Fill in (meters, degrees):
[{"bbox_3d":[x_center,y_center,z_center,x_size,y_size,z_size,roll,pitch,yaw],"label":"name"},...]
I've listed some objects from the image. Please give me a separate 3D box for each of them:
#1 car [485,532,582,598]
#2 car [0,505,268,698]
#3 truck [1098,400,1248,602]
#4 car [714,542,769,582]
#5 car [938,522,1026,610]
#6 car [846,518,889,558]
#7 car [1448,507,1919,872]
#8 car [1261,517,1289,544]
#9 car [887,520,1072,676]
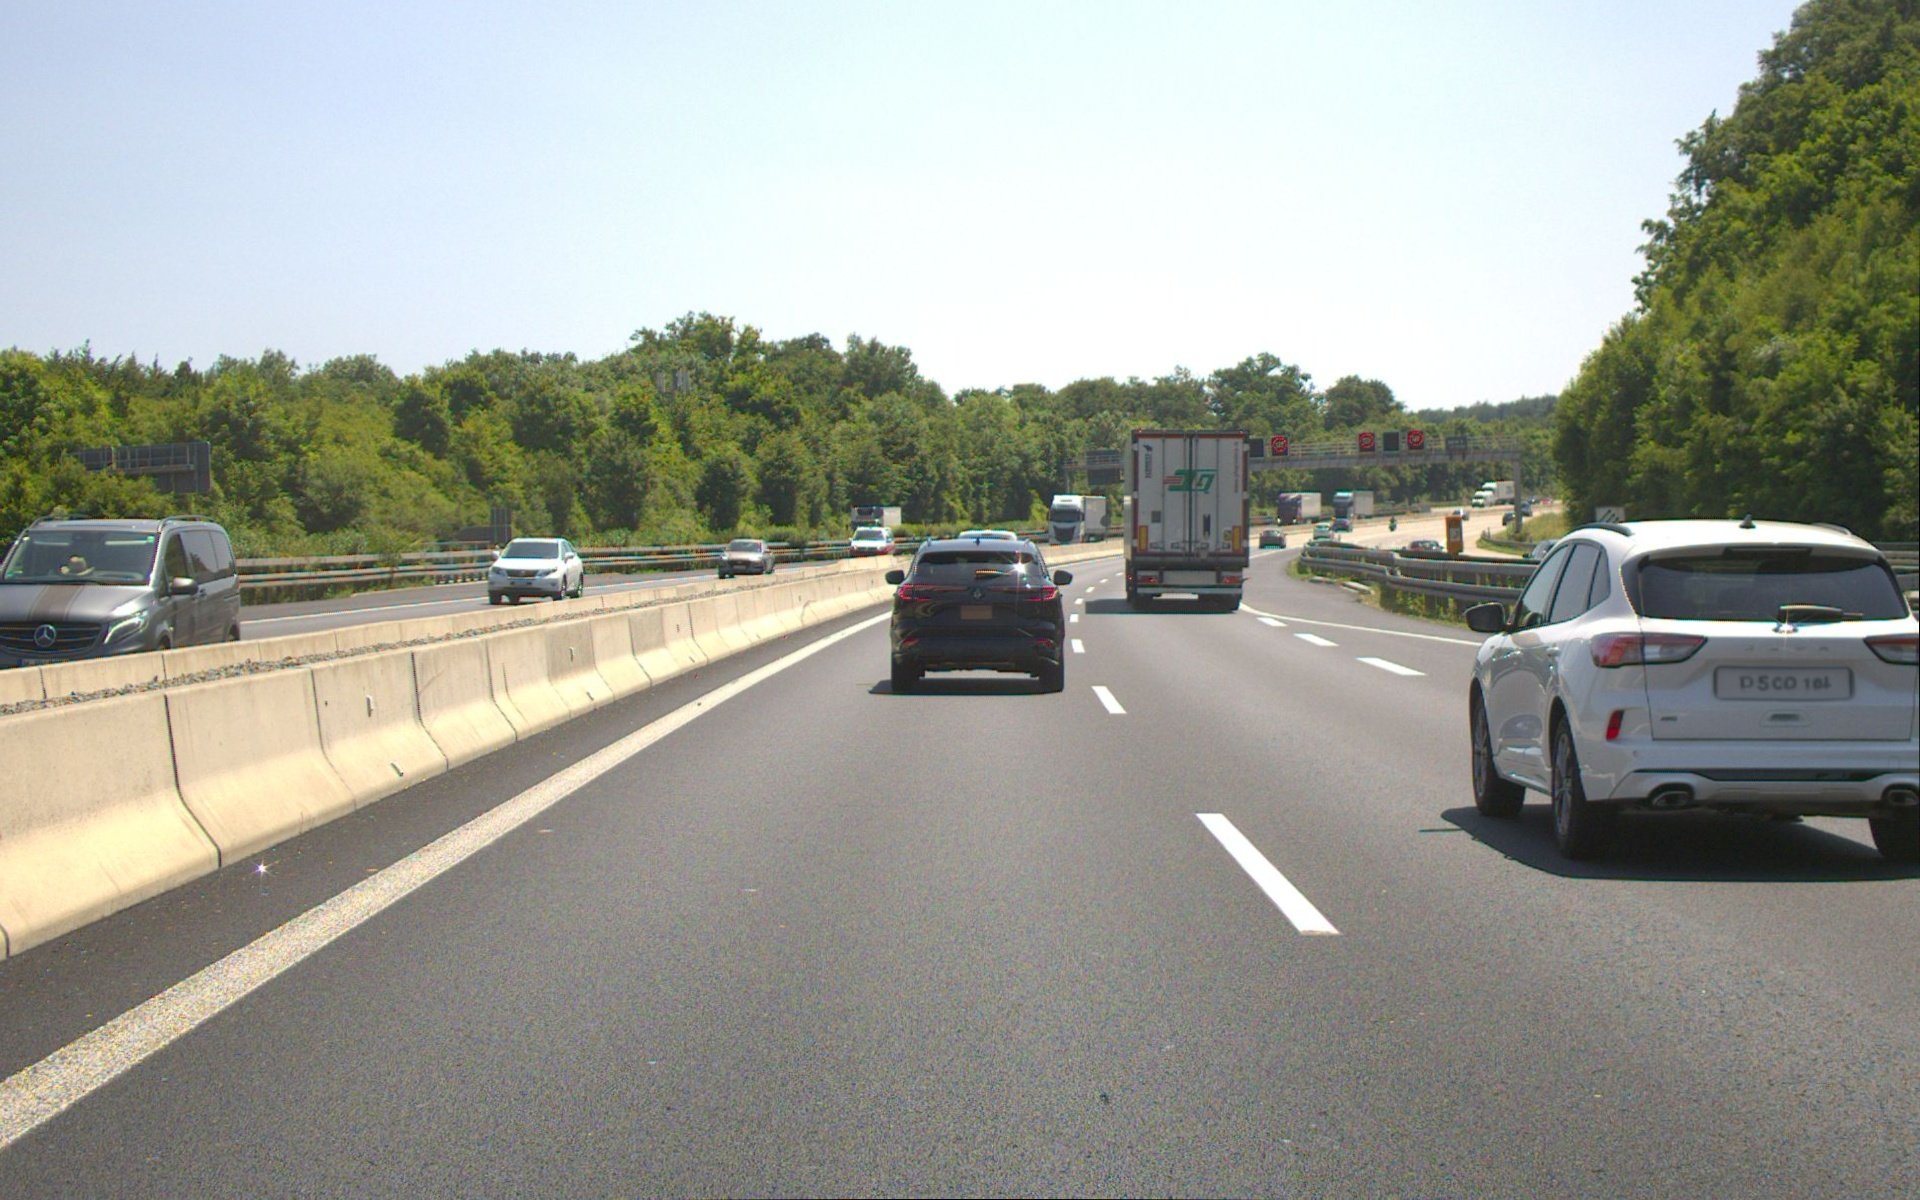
[{"bbox_3d":[-10.919,-0.916,88.257,1.787,1.626,4.930,0,1,1],"label":"car"},{"bbox_3d":[-8.782,-0.012,35.777,2.035,1.851,5.375,0,0,0],"label":"car"},{"bbox_3d":[4.893,-2.208,81.084,3.032,4.403,12.018,0,0,1],"label":"truck"},{"bbox_3d":[-8.531,-1.491,134.307,1.728,1.527,4.261,1,1,2],"label":"car"},{"bbox_3d":[0.530,-0.852,83.959,1.993,2.007,4.000,-3,1,0],"label":"car"},{"bbox_3d":[-4.729,-3.180,176.908,1.993,2.007,5.380,0,0,1],"label":"car"},{"bbox_3d":[3.833,0.387,17.880,1.993,1.656,4.468,0,0,1],"label":"car"},{"bbox_3d":[23.499,-5.174,256.553,1.994,2.007,3.999,0,0,4],"label":"car"},{"bbox_3d":[0.160,-0.035,37.108,1.779,1.572,4.000,1,0,-3],"label":"car"}]
